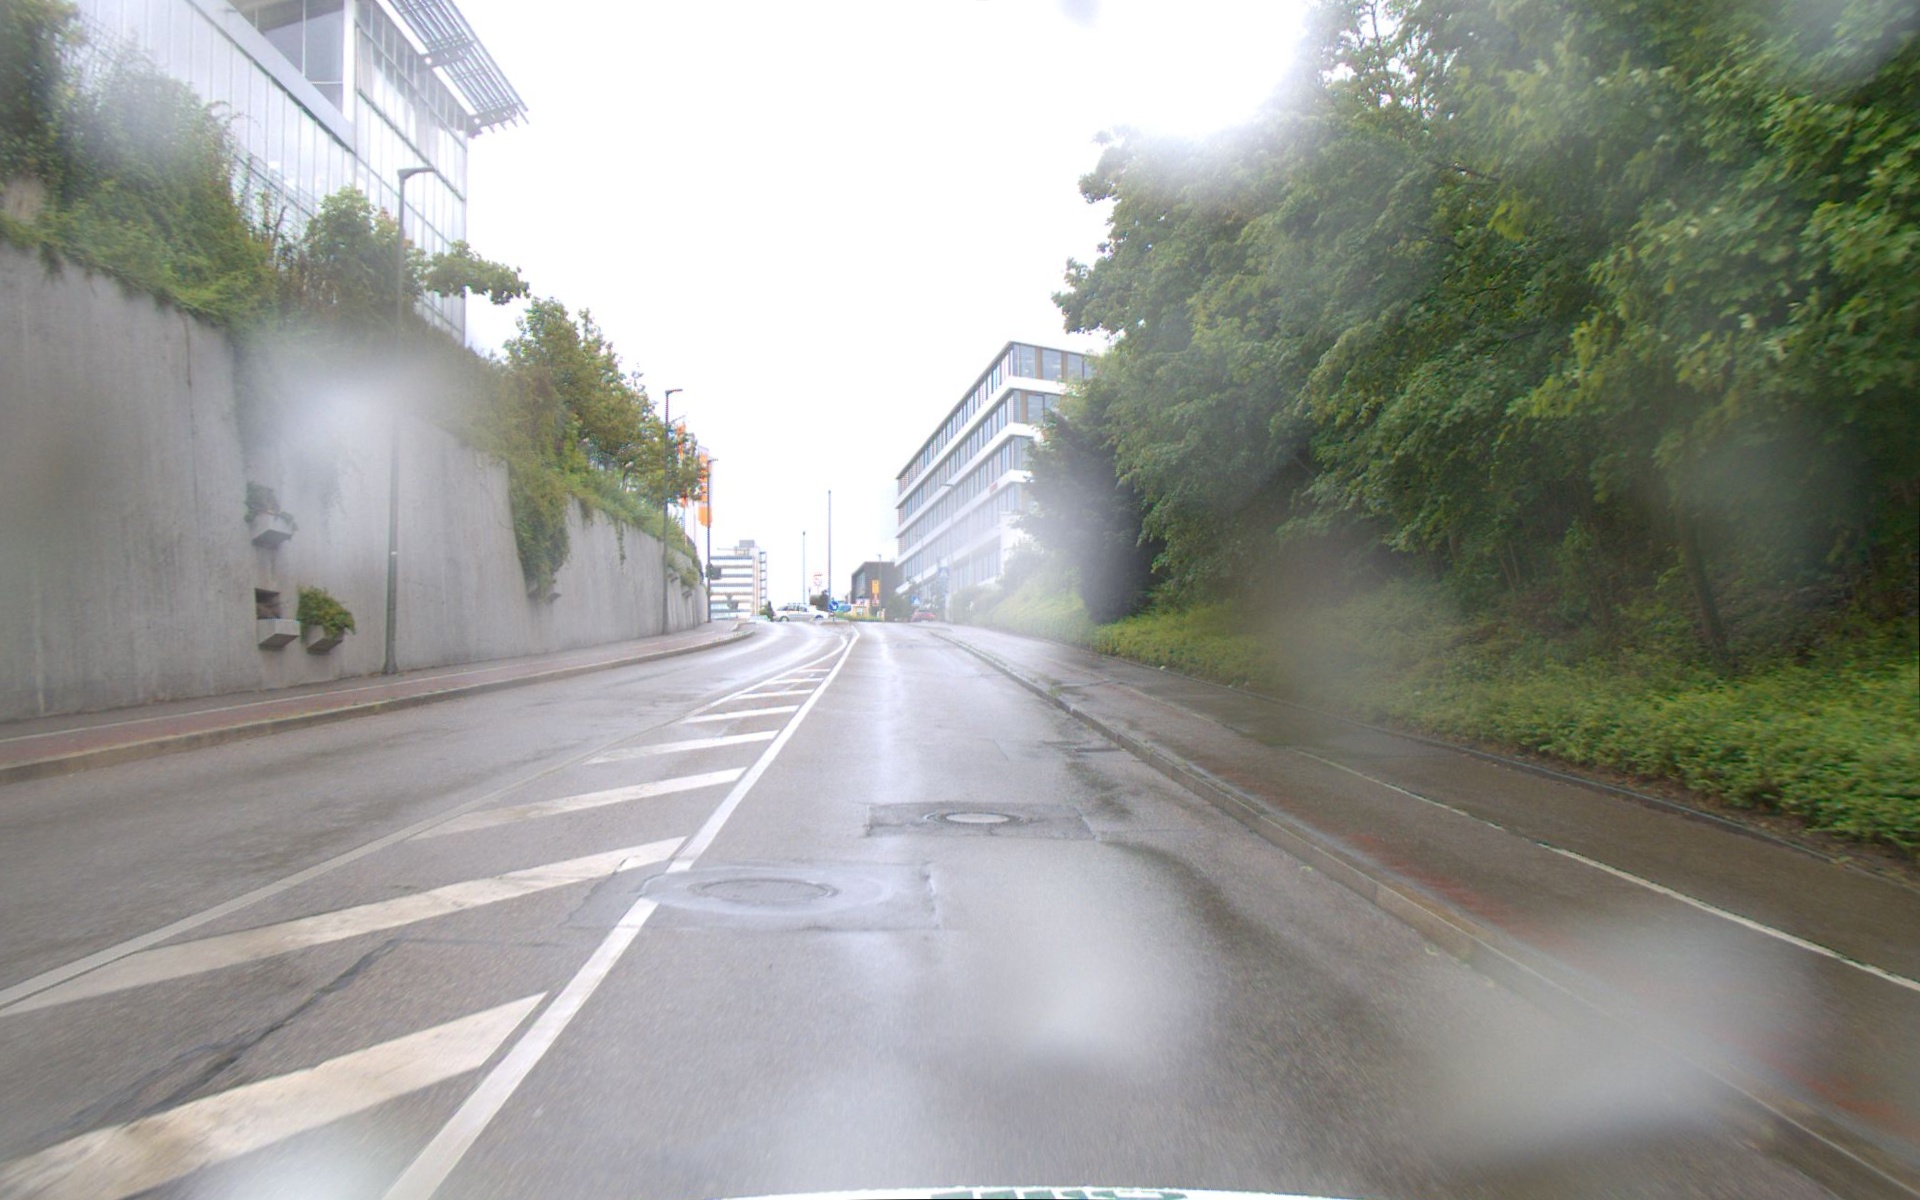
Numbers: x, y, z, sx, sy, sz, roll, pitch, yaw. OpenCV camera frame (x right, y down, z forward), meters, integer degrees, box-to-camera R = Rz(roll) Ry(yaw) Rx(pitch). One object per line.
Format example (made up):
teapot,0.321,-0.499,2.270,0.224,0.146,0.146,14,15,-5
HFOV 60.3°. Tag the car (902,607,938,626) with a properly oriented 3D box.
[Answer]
car,-3.042,1.226,124.963,1.765,1.434,4.197,0,0,-16

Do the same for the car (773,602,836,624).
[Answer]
car,-10.936,0.912,116.426,4.146,1.386,1.646,2,0,6
